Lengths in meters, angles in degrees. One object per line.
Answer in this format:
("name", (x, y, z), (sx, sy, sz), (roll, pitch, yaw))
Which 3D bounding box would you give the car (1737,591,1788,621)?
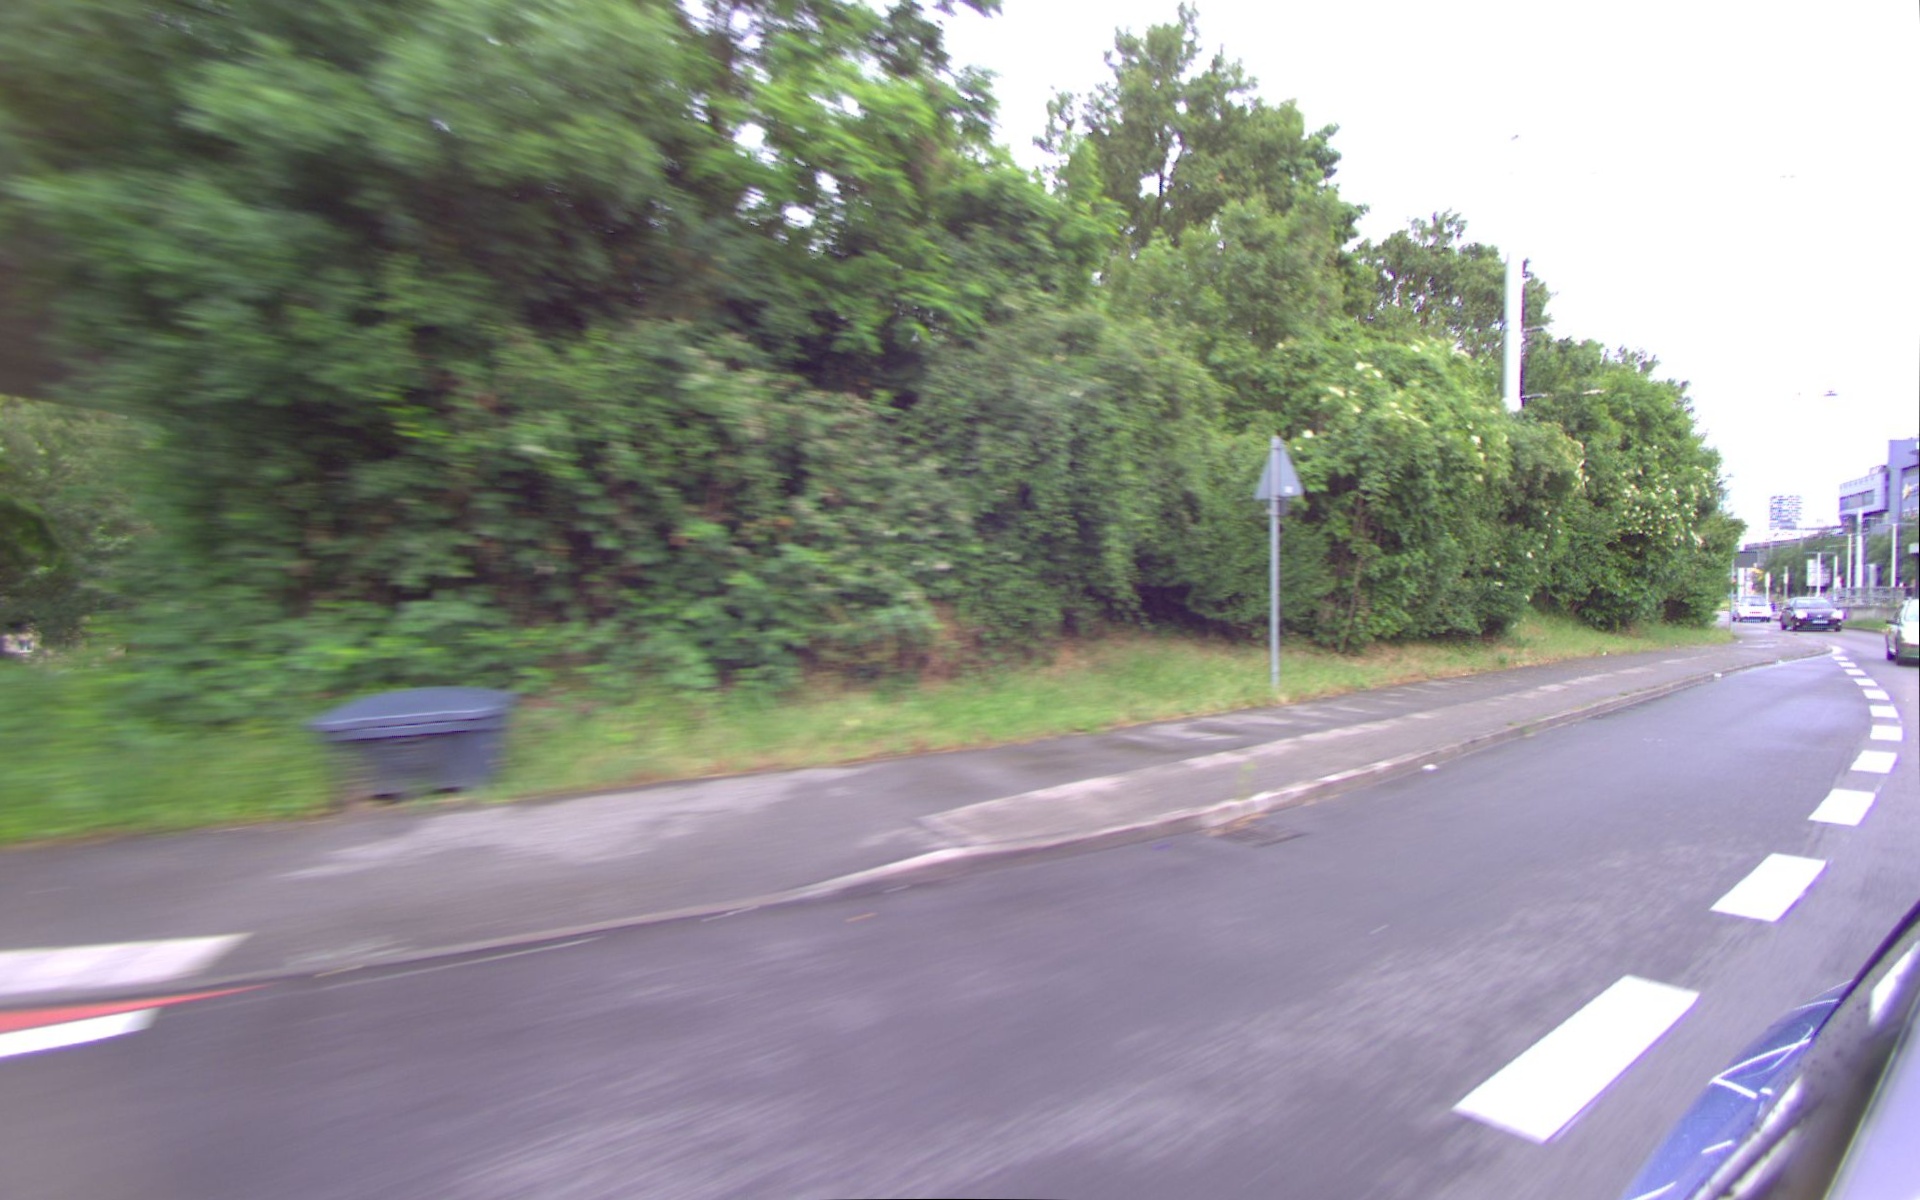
("car", (46.692, 0.332, 58.983), (1.986, 1.591, 3.951), (-2, 0, 34))

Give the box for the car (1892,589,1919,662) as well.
("car", (22.621, 0.554, 23.047), (1.773, 1.520, 3.944), (2, 2, 39))

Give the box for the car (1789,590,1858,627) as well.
("car", (38.132, 0.347, 44.778), (1.768, 1.520, 3.954), (0, 0, 32))
